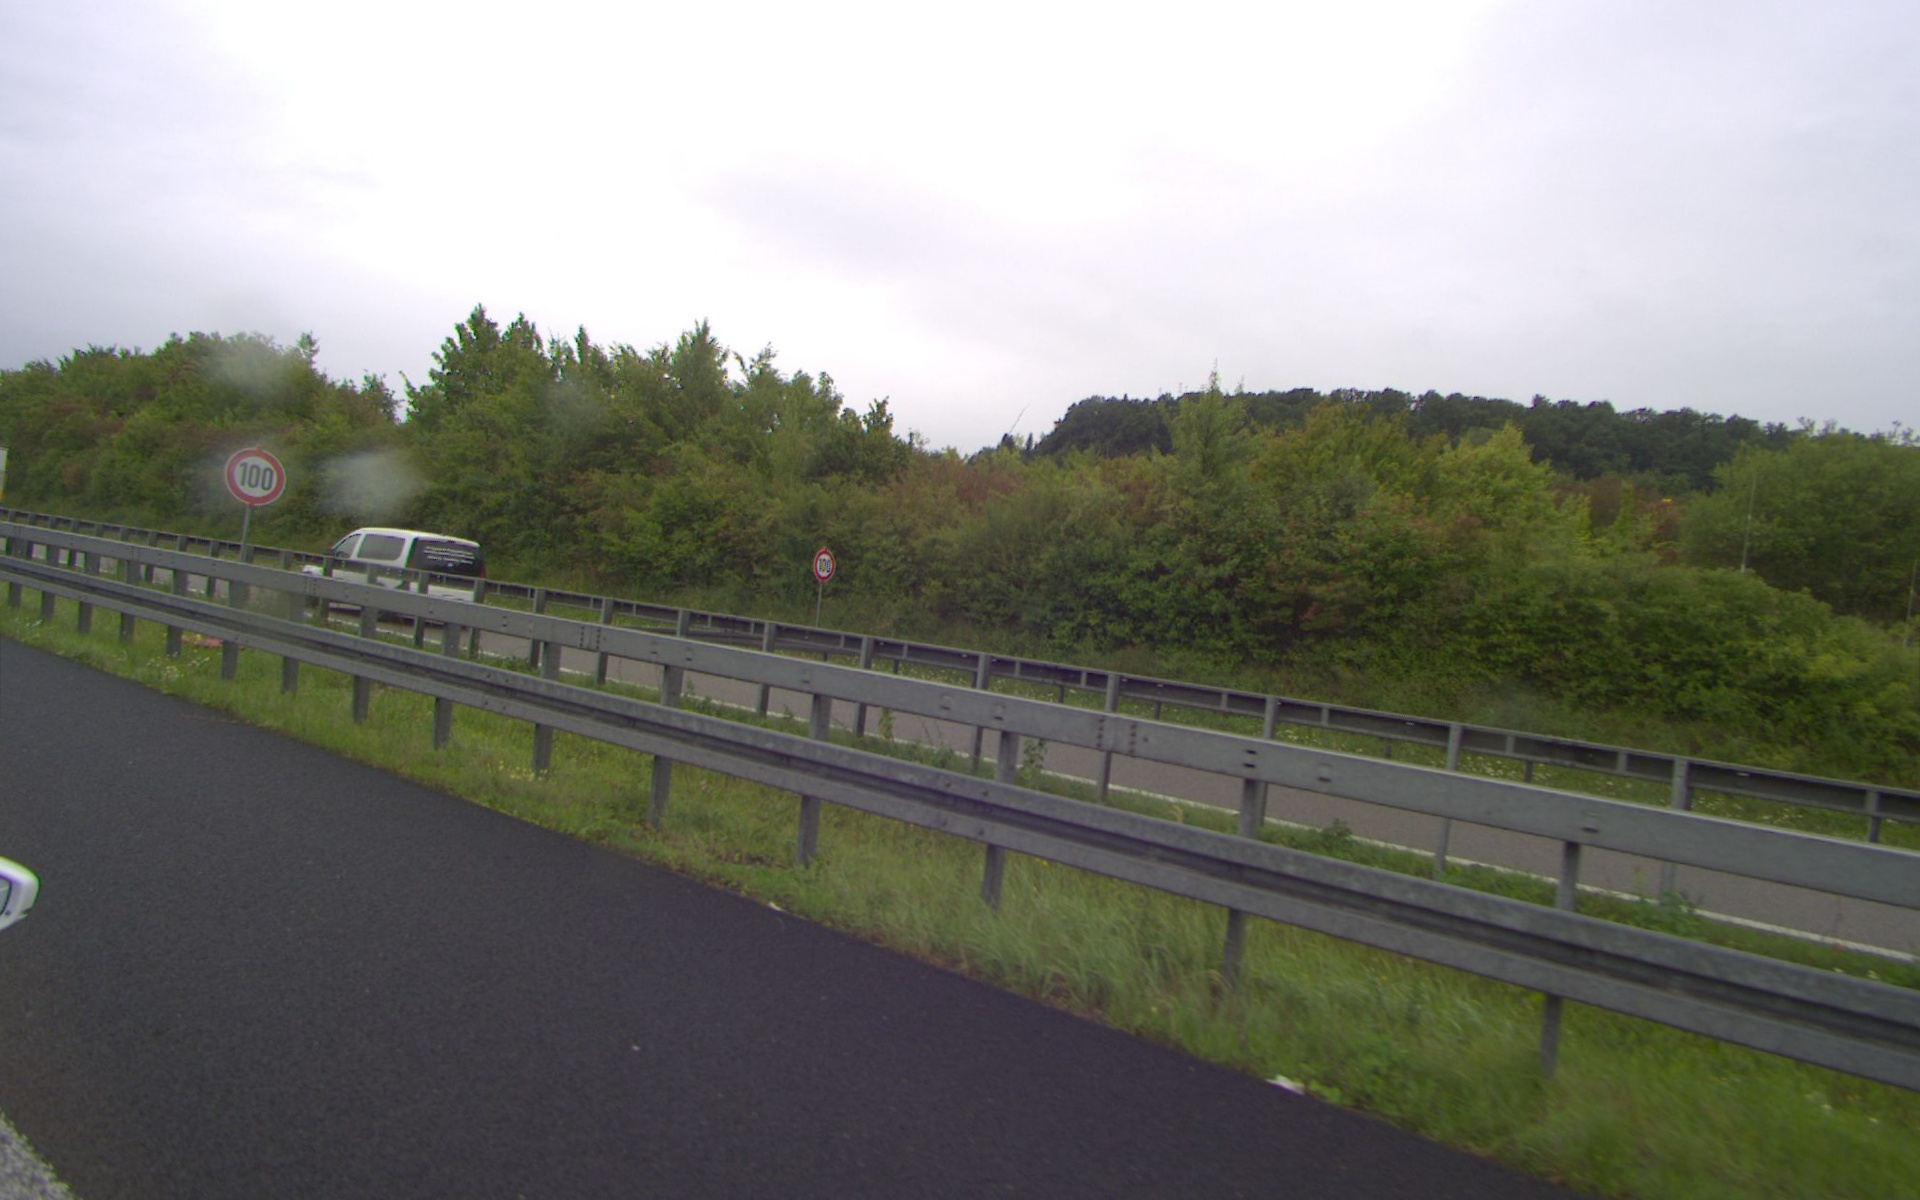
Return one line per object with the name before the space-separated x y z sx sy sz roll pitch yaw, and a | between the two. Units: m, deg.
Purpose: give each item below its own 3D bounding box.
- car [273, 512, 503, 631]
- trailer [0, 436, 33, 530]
car | -11.637 -0.599 20.394 4.569 1.826 1.863 7 -1 30
trailer | -50.684 -6.255 50.577 10.286 4.340 3.441 7 -1 34
